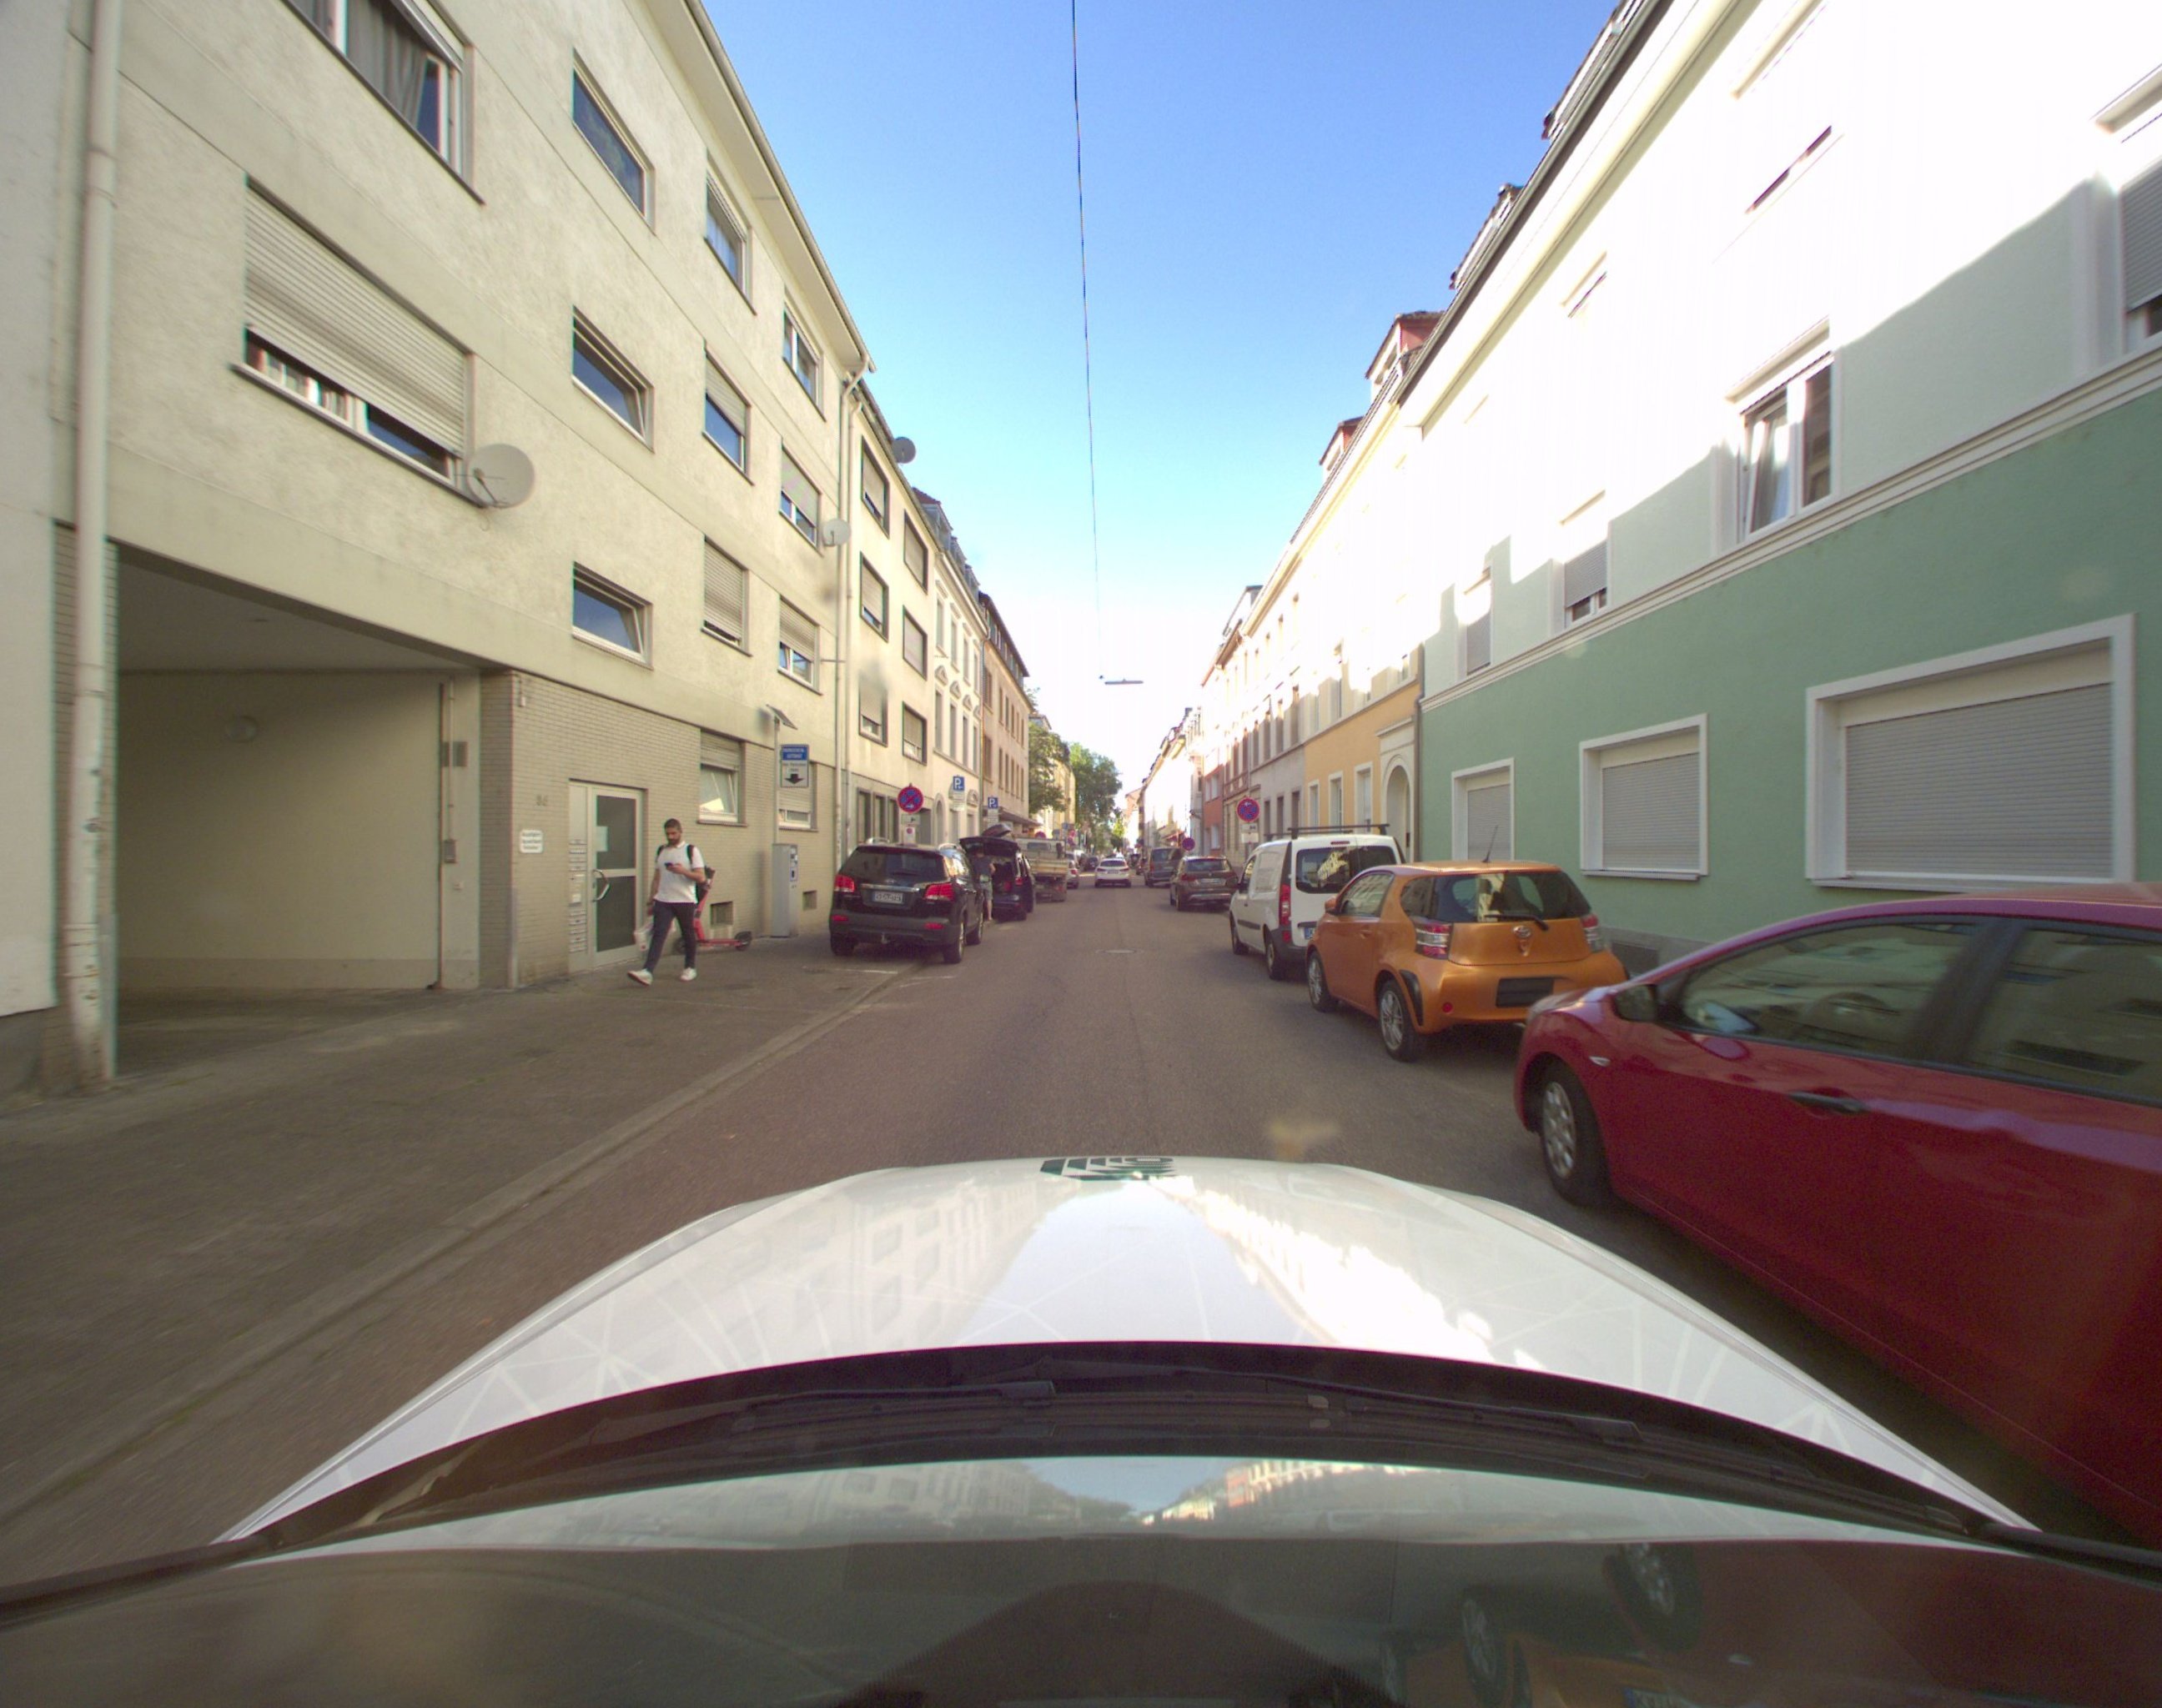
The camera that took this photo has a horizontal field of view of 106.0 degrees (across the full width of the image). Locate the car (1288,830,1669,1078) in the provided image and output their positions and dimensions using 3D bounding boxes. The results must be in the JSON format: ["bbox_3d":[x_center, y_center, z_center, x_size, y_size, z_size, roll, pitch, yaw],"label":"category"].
[{"bbox_3d":[3.119,0.658,7.258,1.575,1.632,3.681,1,0,0],"label":"car"}]

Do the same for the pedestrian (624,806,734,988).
[{"bbox_3d":[-4.493,0.462,9.141,0.803,1.934,0.691,2,0,2],"label":"pedestrian"}]

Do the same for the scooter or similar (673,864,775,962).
[{"bbox_3d":[-5.061,0.804,11.587,0.433,1.278,1.241,-2,0,43],"label":"scooter or similar"}]

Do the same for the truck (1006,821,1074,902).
[{"bbox_3d":[-1.472,0.290,29.647,2.152,2.590,6.243,-1,-1,-2],"label":"truck"}]

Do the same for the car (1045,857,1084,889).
[{"bbox_3d":[-0.784,0.895,40.703,1.752,1.415,4.000,-3,0,1],"label":"car"}]

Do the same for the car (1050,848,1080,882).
[{"bbox_3d":[-0.883,0.608,46.647,1.642,1.867,3.999,-1,0,-1],"label":"car"}]

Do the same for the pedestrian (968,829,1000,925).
[{"bbox_3d":[-2.283,0.539,19.277,0.616,2.229,0.688,-1,-2,2],"label":"pedestrian"}]

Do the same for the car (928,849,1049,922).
[{"bbox_3d":[-2.289,0.727,21.747,2.432,1.706,5.245,0,0,2],"label":"car"}]

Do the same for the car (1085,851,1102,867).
[{"bbox_3d":[1.239,0.503,81.818,1.618,1.597,3.582,0,0,2],"label":"car"}]

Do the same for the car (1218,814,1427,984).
[{"bbox_3d":[3.188,0.535,11.710,1.776,1.961,4.337,-1,0,1],"label":"car"}]

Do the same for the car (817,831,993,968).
[{"bbox_3d":[-2.593,0.592,13.138,1.874,1.755,4.540,2,1,-2],"label":"car"}]

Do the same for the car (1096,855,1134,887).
[{"bbox_3d":[1.773,0.825,41.421,1.826,1.486,4.060,-1,0,3],"label":"car"}]

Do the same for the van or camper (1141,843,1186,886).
[{"bbox_3d":[4.226,0.526,42.291,1.769,2.036,4.569,-2,0,0],"label":"van or camper"}]

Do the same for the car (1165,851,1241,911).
[{"bbox_3d":[3.548,0.726,24.380,1.733,1.577,4.380,-1,1,2],"label":"car"}]

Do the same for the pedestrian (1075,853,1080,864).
[{"bbox_3d":[-0.483,0.627,113.189,0.625,1.464,0.575,-1,-1,2],"label":"pedestrian"}]

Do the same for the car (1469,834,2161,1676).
[{"bbox_3d":[2.905,0.733,2.355,1.736,1.568,4.034,-1,1,2],"label":"car"}]

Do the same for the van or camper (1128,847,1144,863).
[{"bbox_3d":[7.035,0.187,104.574,1.986,1.926,4.002,-1,-1,2],"label":"van or camper"}]

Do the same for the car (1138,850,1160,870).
[{"bbox_3d":[5.518,0.476,66.698,1.640,1.576,3.681,-1,0,2],"label":"car"}]
